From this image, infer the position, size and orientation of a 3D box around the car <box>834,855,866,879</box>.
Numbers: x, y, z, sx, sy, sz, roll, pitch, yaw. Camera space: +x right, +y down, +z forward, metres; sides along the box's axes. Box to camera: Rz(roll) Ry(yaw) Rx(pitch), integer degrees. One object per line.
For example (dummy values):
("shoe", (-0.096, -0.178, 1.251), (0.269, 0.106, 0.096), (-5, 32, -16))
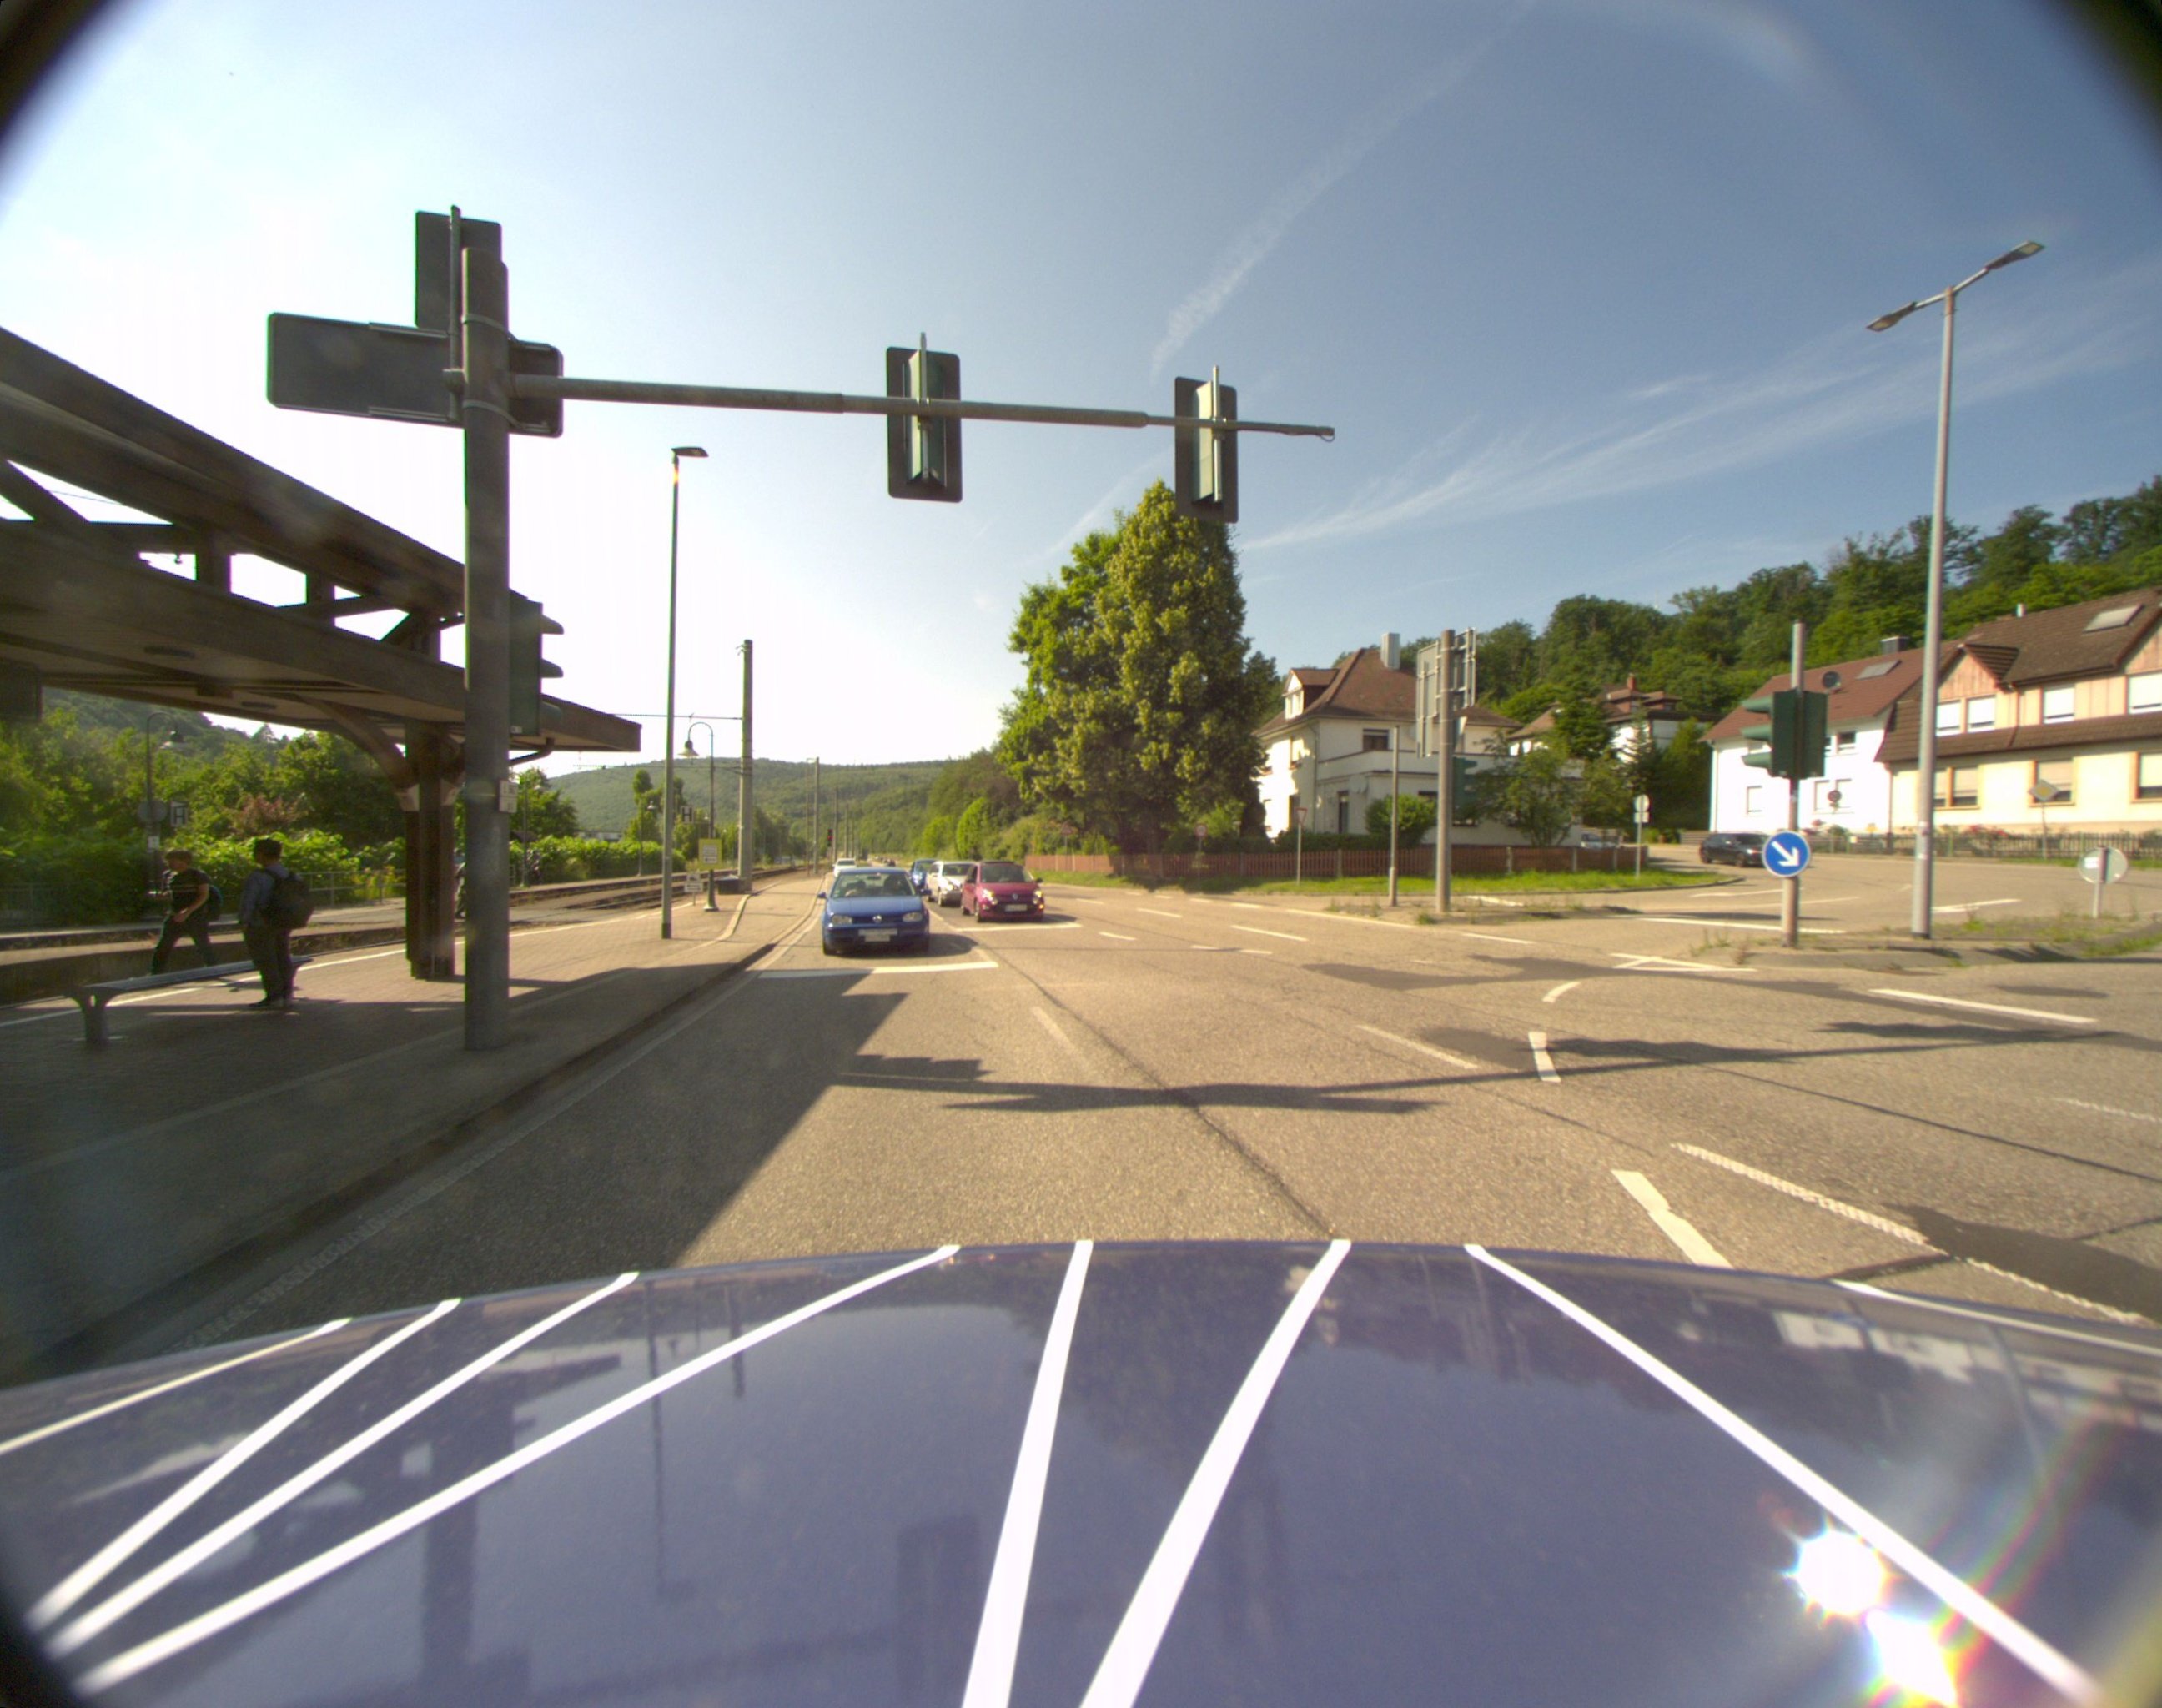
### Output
("car", (-16.660, 0.896, 54.905), (2.001, 1.576, 3.995), (-2, 0, -15))

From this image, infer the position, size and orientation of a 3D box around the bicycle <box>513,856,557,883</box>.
("bicycle", (-26.870, 0.753, 37.445), (0.873, 1.246, 2.293), (-2, 0, -12))

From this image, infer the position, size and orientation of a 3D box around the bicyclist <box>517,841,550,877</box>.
("bicyclist", (-26.877, 0.262, 37.304), (1.010, 1.716, 0.865), (-2, 0, -12))

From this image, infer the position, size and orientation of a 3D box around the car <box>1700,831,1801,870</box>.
("car", (28.771, -0.150, 32.799), (1.995, 1.499, 4.006), (-2, -1, 22))

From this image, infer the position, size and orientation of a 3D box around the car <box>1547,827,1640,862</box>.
("car", (25.843, -0.429, 38.508), (1.939, 1.627, 4.000), (-2, -1, 0))

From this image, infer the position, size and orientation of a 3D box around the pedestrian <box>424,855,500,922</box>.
("pedestrian", (-16.746, 0.924, 20.584), (1.251, 1.726, 0.916), (-2, 0, -4))

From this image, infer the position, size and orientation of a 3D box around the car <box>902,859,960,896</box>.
("car", (-6.810, 1.034, 34.200), (1.982, 1.495, 3.981), (-2, -1, -19))

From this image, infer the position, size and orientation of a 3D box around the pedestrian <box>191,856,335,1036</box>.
("pedestrian", (-8.056, 0.859, 7.519), (0.659, 1.682, 0.738), (0, 1, -15))

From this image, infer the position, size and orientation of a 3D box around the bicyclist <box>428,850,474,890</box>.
("bicyclist", (-25.462, 0.637, 30.726), (1.010, 1.544, 1.040), (-2, 0, -12))

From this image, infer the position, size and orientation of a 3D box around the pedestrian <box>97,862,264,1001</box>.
("pedestrian", (-10.524, 0.868, 8.929), (0.863, 1.538, 0.922), (0, 0, -7))

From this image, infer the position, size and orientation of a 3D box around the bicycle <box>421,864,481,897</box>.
("bicycle", (-25.497, 1.050, 30.806), (0.873, 1.246, 2.293), (-2, 0, -12))

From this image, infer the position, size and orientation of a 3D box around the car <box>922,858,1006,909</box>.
("car", (-4.041, 0.955, 25.574), (1.982, 1.495, 4.744), (-2, -1, -19))

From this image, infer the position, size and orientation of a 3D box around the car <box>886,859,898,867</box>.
("car", (-43.085, 2.051, 173.370), (2.002, 1.674, 3.993), (-2, -1, -21))

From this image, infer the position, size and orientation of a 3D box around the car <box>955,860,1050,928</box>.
("car", (-2.110, 0.938, 19.543), (1.663, 1.525, 3.949), (-1, 0, -17))

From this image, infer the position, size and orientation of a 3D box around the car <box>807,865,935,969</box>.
("car", (-3.802, 0.975, 13.640), (1.868, 1.474, 4.295), (0, 0, -17))
